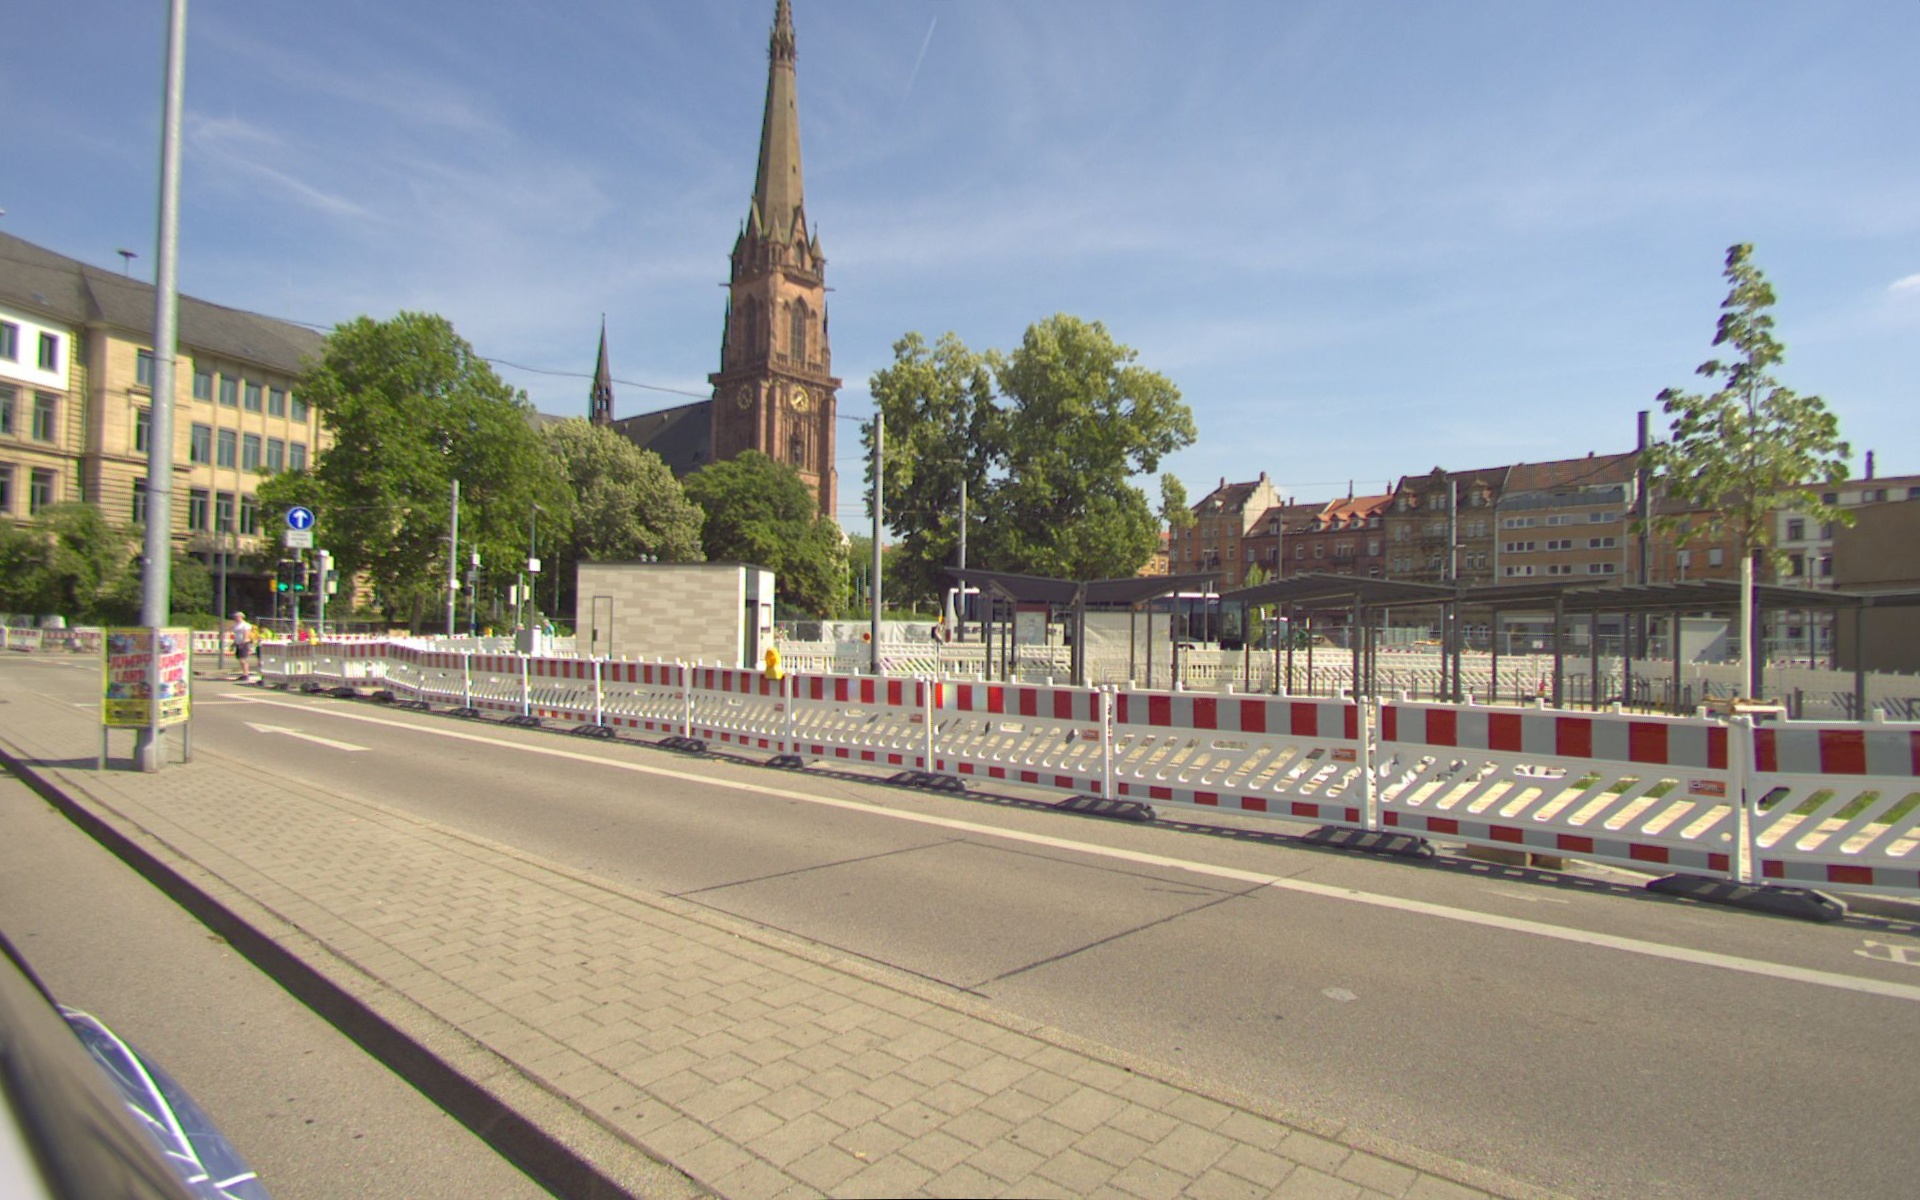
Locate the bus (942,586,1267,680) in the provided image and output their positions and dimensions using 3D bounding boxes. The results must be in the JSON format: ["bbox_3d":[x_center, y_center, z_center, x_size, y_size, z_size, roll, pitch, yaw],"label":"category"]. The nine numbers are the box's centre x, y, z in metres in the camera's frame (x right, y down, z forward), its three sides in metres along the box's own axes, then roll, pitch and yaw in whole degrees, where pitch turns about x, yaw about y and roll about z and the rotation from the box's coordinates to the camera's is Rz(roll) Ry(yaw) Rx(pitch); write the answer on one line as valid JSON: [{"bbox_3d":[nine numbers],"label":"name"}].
[{"bbox_3d":[5.671,1.291,40.892,12.504,3.516,2.856,0,-2,7],"label":"bus"}]

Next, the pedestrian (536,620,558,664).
[{"bbox_3d":[-15.428,1.559,37.776,0.577,1.628,0.690,0,-2,-5],"label":"pedestrian"}]

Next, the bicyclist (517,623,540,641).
[{"bbox_3d":[-21.880,1.616,51.277,0.858,0.934,0.682,1,-2,2],"label":"bicyclist"}]

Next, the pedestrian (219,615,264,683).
[{"bbox_3d":[-19.657,1.342,27.693,0.827,1.826,0.651,1,-2,-21],"label":"pedestrian"}]

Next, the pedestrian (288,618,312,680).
[{"bbox_3d":[-17.639,1.294,27.040,0.686,1.628,0.346,-1,-3,42],"label":"pedestrian"}]

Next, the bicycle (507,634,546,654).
[{"bbox_3d":[-21.952,2.215,51.249,1.643,0.954,0.701,1,-2,2],"label":"bicycle"}]

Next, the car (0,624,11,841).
[{"bbox_3d":[-6.467,0.844,5.109,4.823,1.530,1.840,0,-2,40],"label":"car"}]

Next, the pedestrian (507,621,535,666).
[{"bbox_3d":[-15.959,1.583,36.768,0.793,1.628,0.653,-2,-3,42],"label":"pedestrian"}]

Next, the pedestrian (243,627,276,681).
[{"bbox_3d":[-20.697,1.596,29.897,0.660,1.555,0.422,-1,0,10],"label":"pedestrian"}]

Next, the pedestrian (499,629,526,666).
[{"bbox_3d":[-20.427,2.159,46.194,0.926,1.668,0.845,2,-3,-41],"label":"pedestrian"}]
